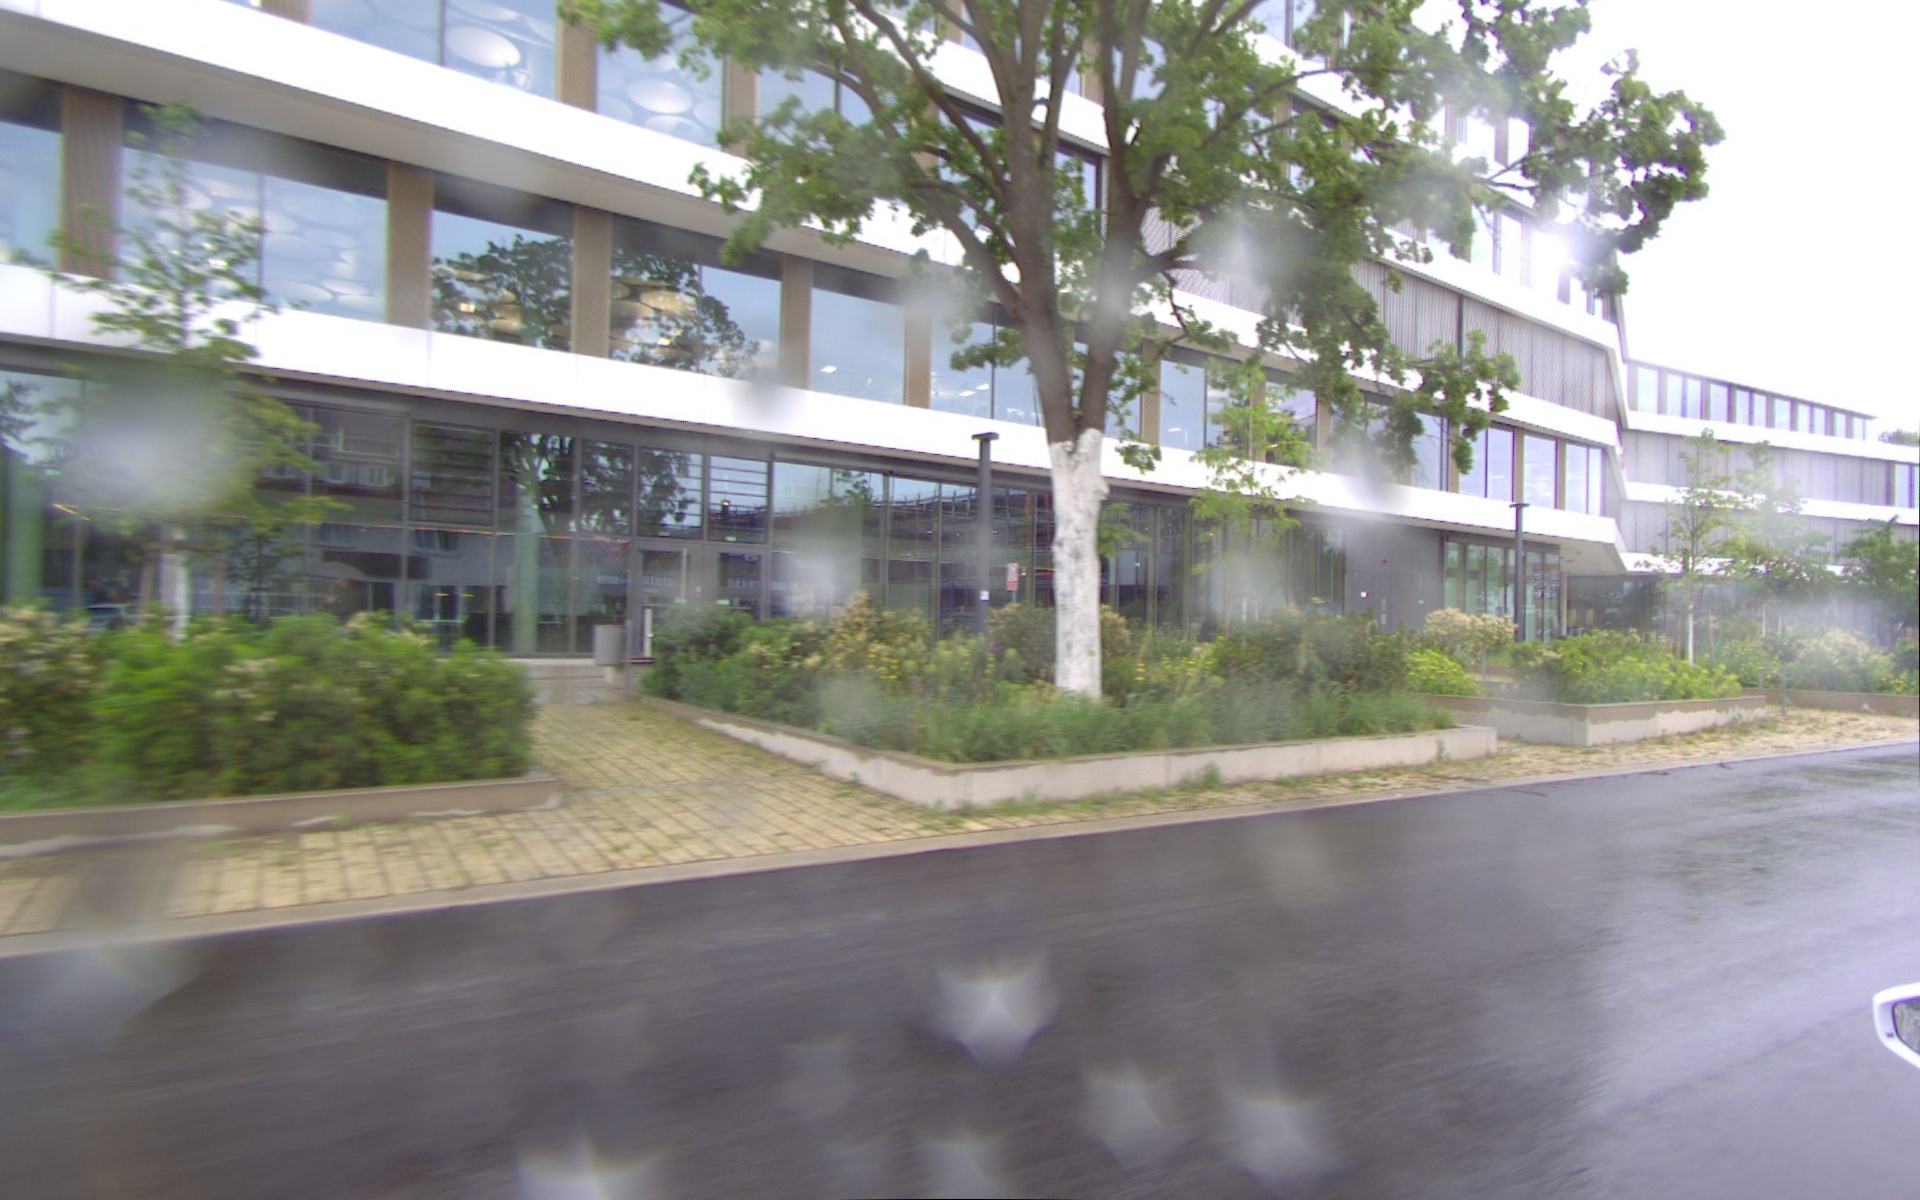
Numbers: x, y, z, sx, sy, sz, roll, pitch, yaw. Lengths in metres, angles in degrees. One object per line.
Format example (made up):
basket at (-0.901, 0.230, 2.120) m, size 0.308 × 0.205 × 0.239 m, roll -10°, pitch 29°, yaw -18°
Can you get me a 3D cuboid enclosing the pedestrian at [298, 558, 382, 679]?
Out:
pedestrian at (-9.275, 0.274, 15.061) m, size 0.945 × 1.726 × 0.721 m, roll 3°, pitch 2°, yaw -30°
